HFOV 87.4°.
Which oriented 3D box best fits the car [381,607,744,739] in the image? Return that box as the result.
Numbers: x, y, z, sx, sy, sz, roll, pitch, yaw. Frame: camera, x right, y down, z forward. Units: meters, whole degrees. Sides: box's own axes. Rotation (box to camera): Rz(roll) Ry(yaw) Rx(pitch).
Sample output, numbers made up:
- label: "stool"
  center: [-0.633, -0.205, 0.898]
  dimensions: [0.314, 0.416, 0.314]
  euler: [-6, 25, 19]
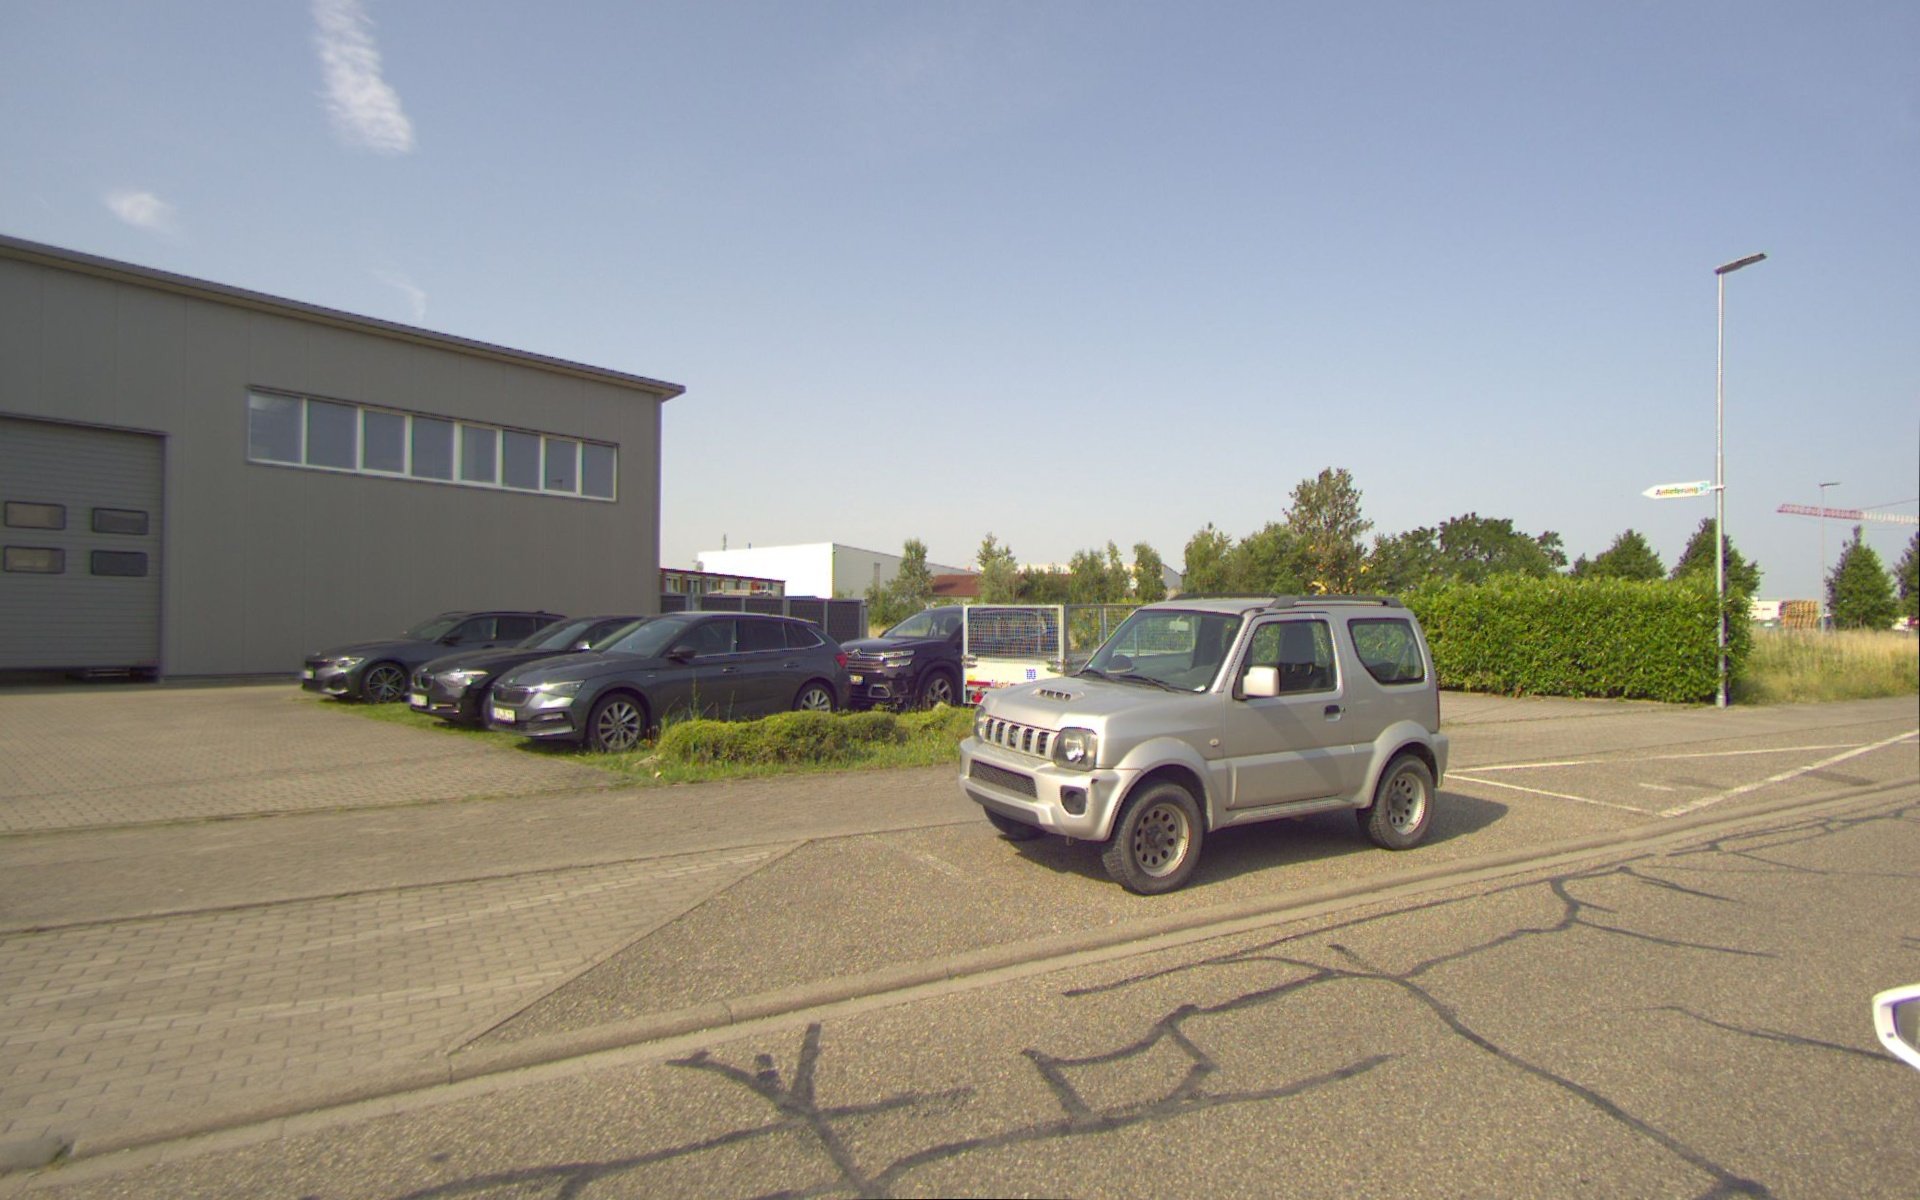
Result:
- label: "car"
  center: [-5.183, 0.884, 13.622]
  dimensions: [1.659, 1.496, 4.331]
  euler: [0, -1, 39]

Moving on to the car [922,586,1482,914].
- label: "car"
  center: [1.707, 0.797, 6.823]
  dimensions: [3.602, 1.673, 1.589]
  euler: [1, 1, -31]

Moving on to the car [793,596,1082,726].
- label: "car"
  center: [-0.207, 0.842, 15.362]
  dimensions: [1.967, 1.680, 4.399]
  euler: [0, -1, 41]

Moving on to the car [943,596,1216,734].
- label: "car"
  center: [1.729, 0.793, 13.594]
  dimensions: [1.813, 1.592, 3.796]
  euler: [0, -1, 42]

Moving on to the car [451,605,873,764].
- label: "car"
  center: [-3.282, 0.851, 11.772]
  dimensions: [1.953, 1.496, 4.399]
  euler: [0, -1, 41]

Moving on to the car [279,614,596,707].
- label: "car"
  center: [-8.652, 0.935, 16.944]
  dimensions: [1.965, 1.342, 4.331]
  euler: [0, -1, 39]
